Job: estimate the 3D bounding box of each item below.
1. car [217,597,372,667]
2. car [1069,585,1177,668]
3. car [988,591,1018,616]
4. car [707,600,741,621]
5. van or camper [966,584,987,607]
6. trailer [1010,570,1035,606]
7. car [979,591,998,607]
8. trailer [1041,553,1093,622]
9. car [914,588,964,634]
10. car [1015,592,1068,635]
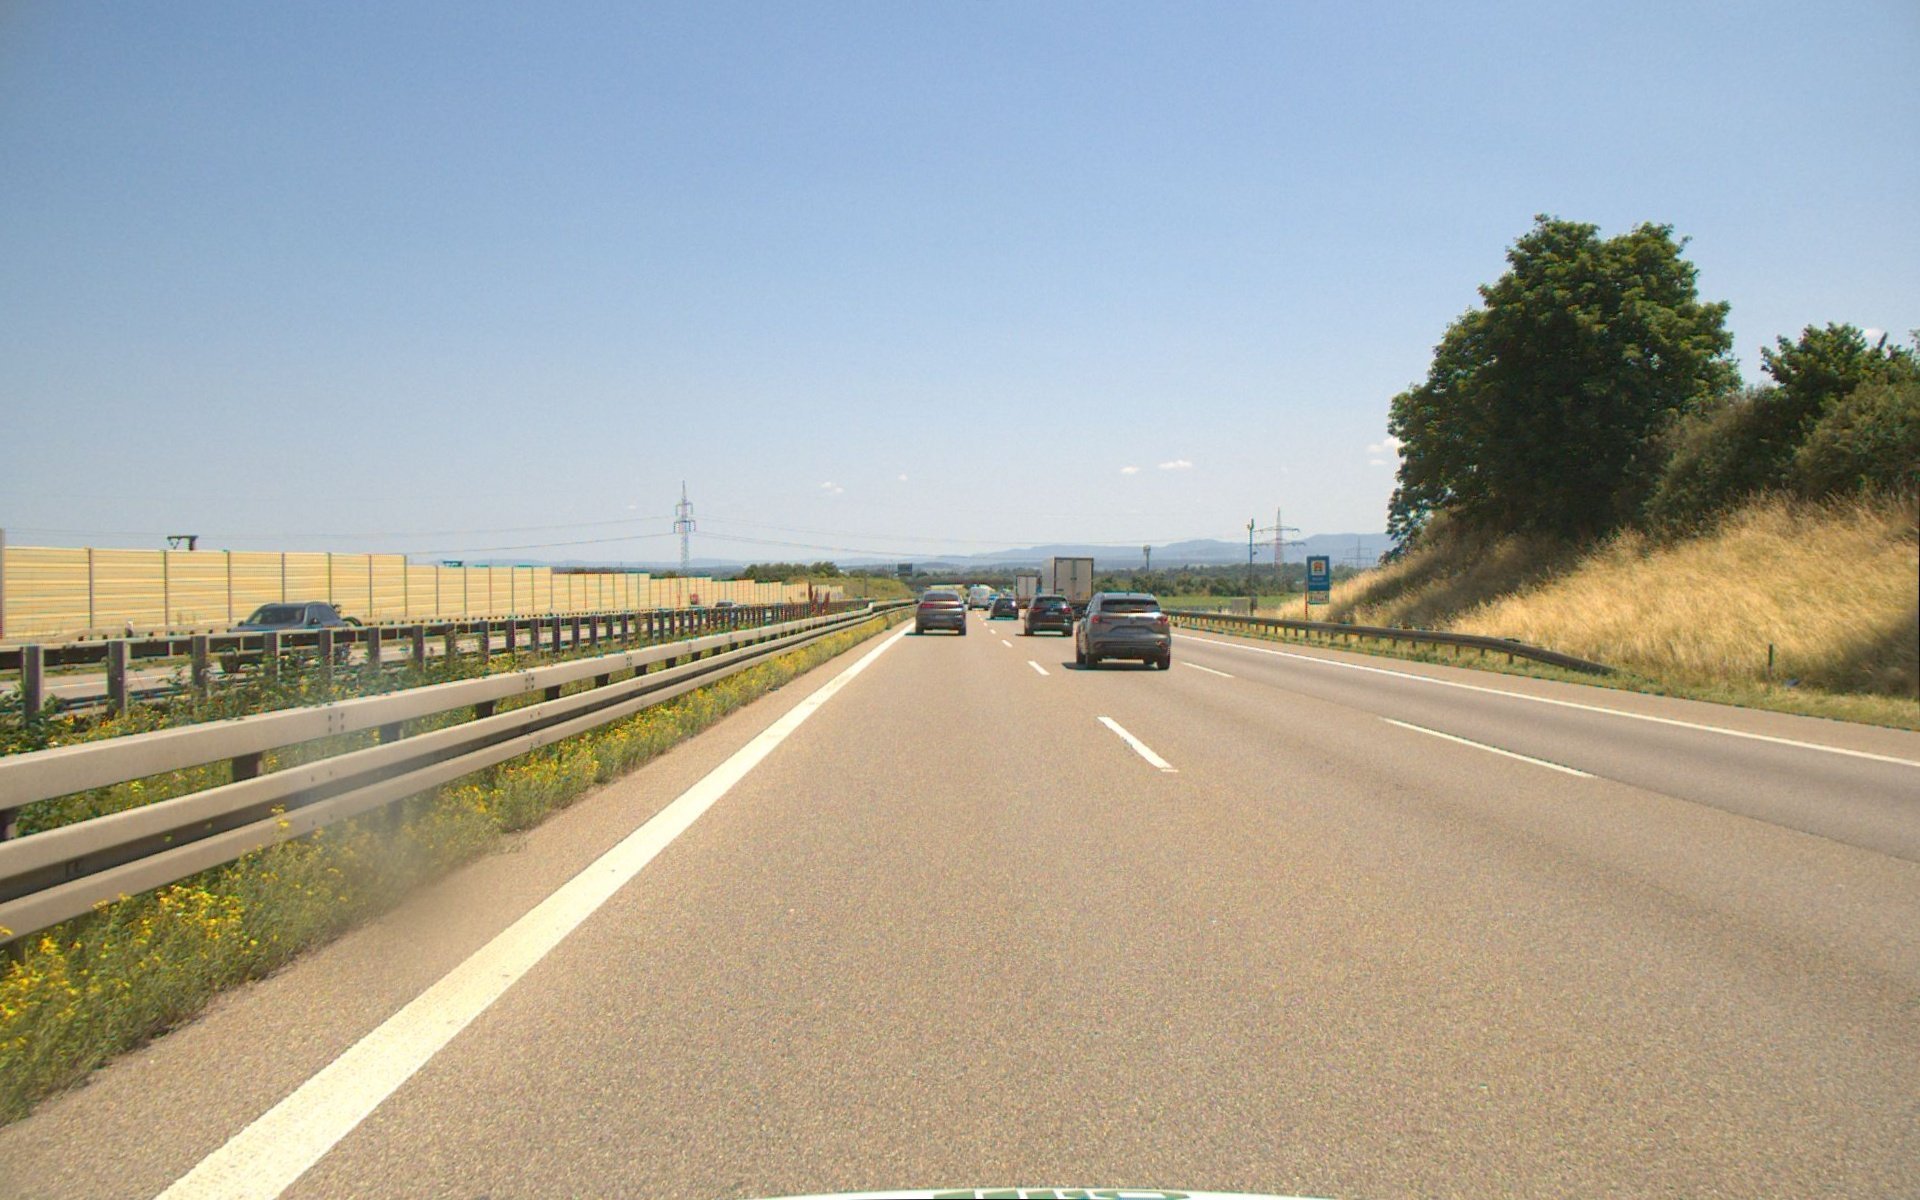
[{"bbox_3d":[-16.908,0.755,42.309,1.858,1.597,5.246,-2,0,-1],"label":"car"},{"bbox_3d":[3.531,0.561,36.515,1.814,1.677,4.643,1,0,-1],"label":"car"},{"bbox_3d":[2.780,0.231,108.240,1.893,1.602,4.935,1,0,1],"label":"car"},{"bbox_3d":[-17.729,0.777,124.436,1.953,1.489,4.813,-1,0,-1],"label":"car"},{"bbox_3d":[1.703,-0.426,167.924,2.067,2.250,5.266,1,0,2],"label":"van or camper"},{"bbox_3d":[7.638,-1.422,204.053,2.882,4.271,13.599,1,0,2],"label":"trailer"},{"bbox_3d":[3.160,-0.098,181.040,1.952,1.712,4.001,1,0,2],"label":"car"},{"bbox_3d":[7.112,-0.782,111.800,2.808,4.294,13.295,1,0,1],"label":"trailer"},{"bbox_3d":[-0.821,0.403,63.730,1.814,1.693,3.734,1,0,-1],"label":"car"},{"bbox_3d":[3.154,0.527,64.616,1.760,1.589,3.822,1,0,-1],"label":"car"}]
